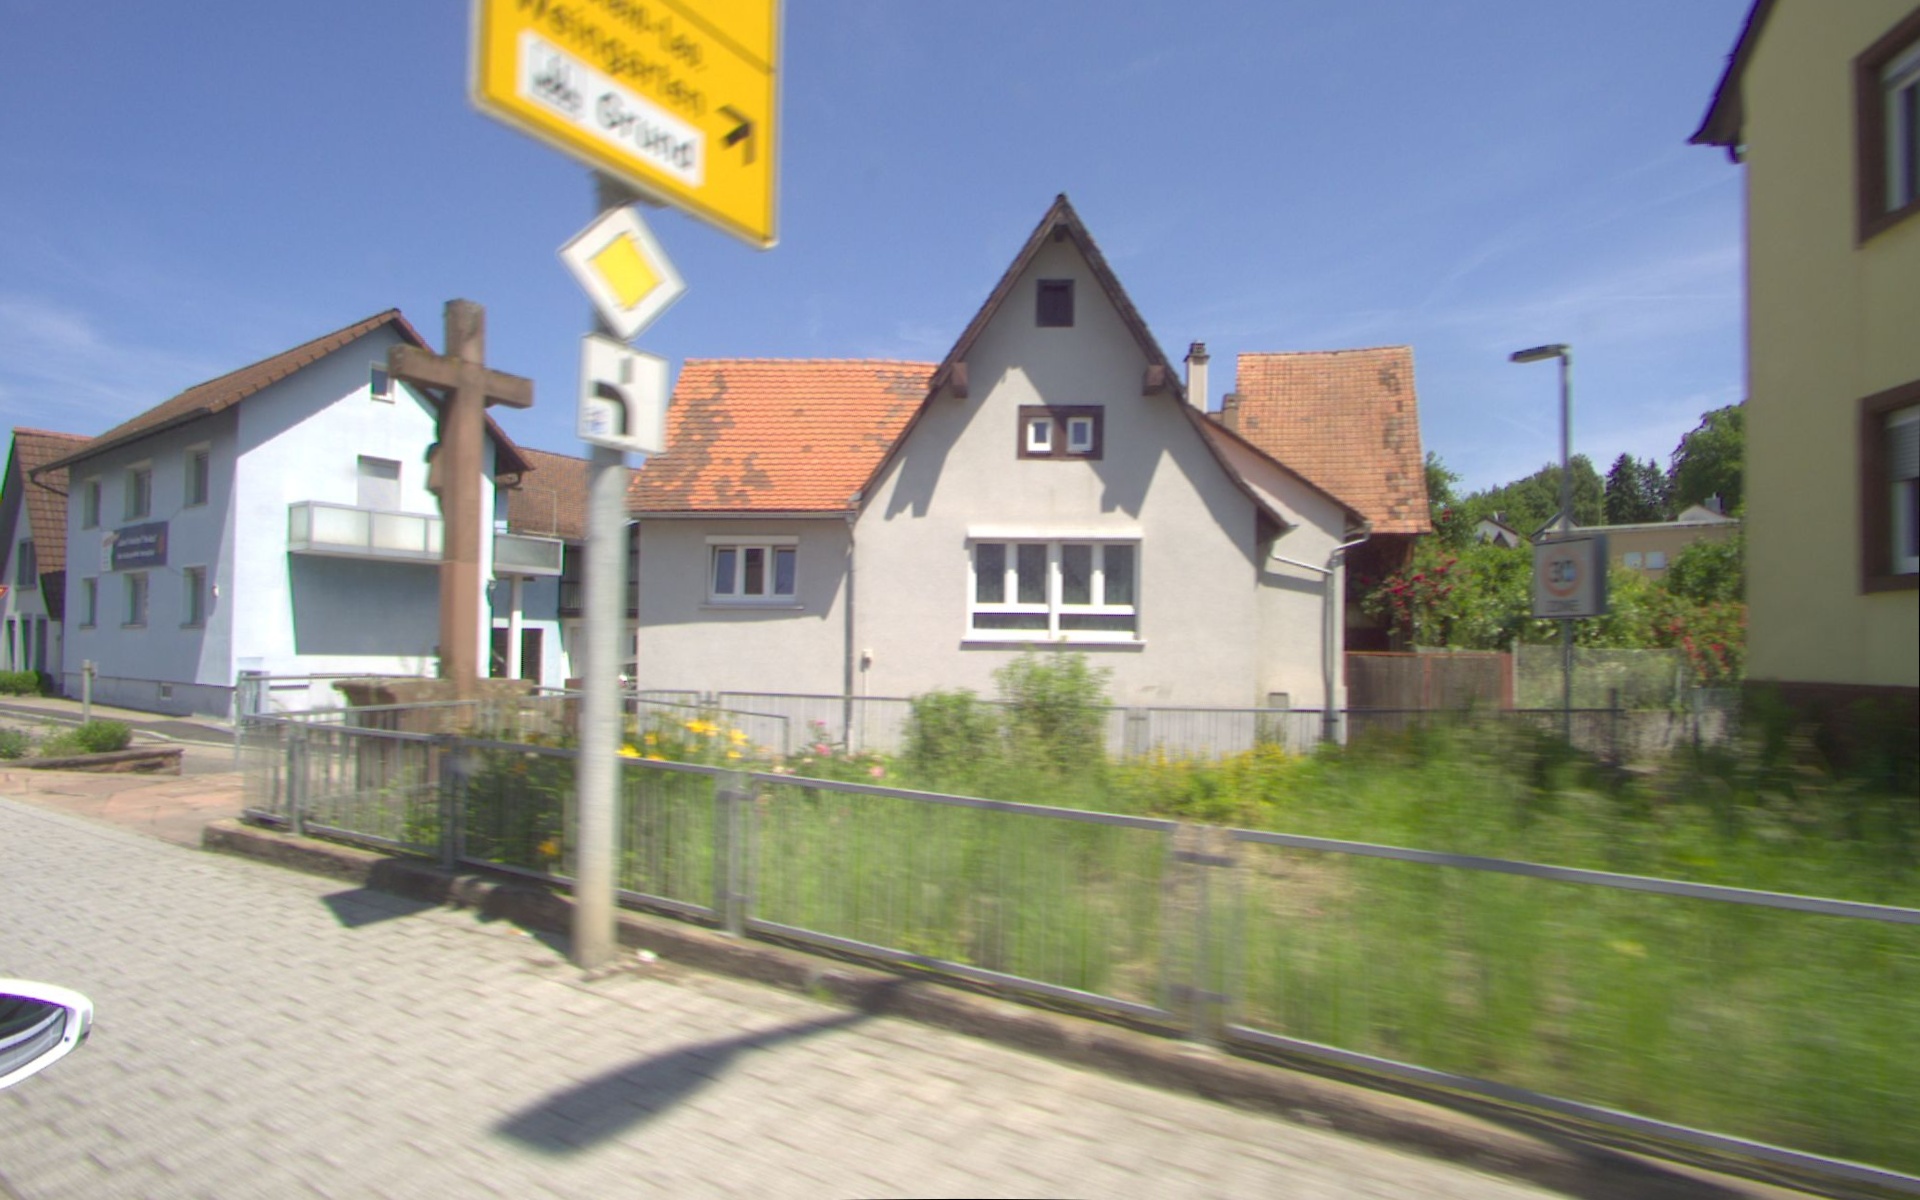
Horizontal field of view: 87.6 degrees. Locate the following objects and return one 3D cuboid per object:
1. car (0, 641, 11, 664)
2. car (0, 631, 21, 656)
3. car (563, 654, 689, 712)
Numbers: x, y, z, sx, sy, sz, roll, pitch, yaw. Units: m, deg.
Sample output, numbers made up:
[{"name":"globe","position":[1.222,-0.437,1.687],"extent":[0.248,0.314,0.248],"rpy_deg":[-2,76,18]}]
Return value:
[{"name":"car","position":[-69.984,3.777,72.302],"extent":[1.982,1.604,3.963],"rpy_deg":[5,-5,-43]},{"name":"car","position":[-77.434,3.506,81.152],"extent":[1.980,2.017,3.962],"rpy_deg":[1,-2,-43]},{"name":"car","position":[-9.506,2.331,28.819],"extent":[1.781,1.471,3.736],"rpy_deg":[1,-2,12]}]
